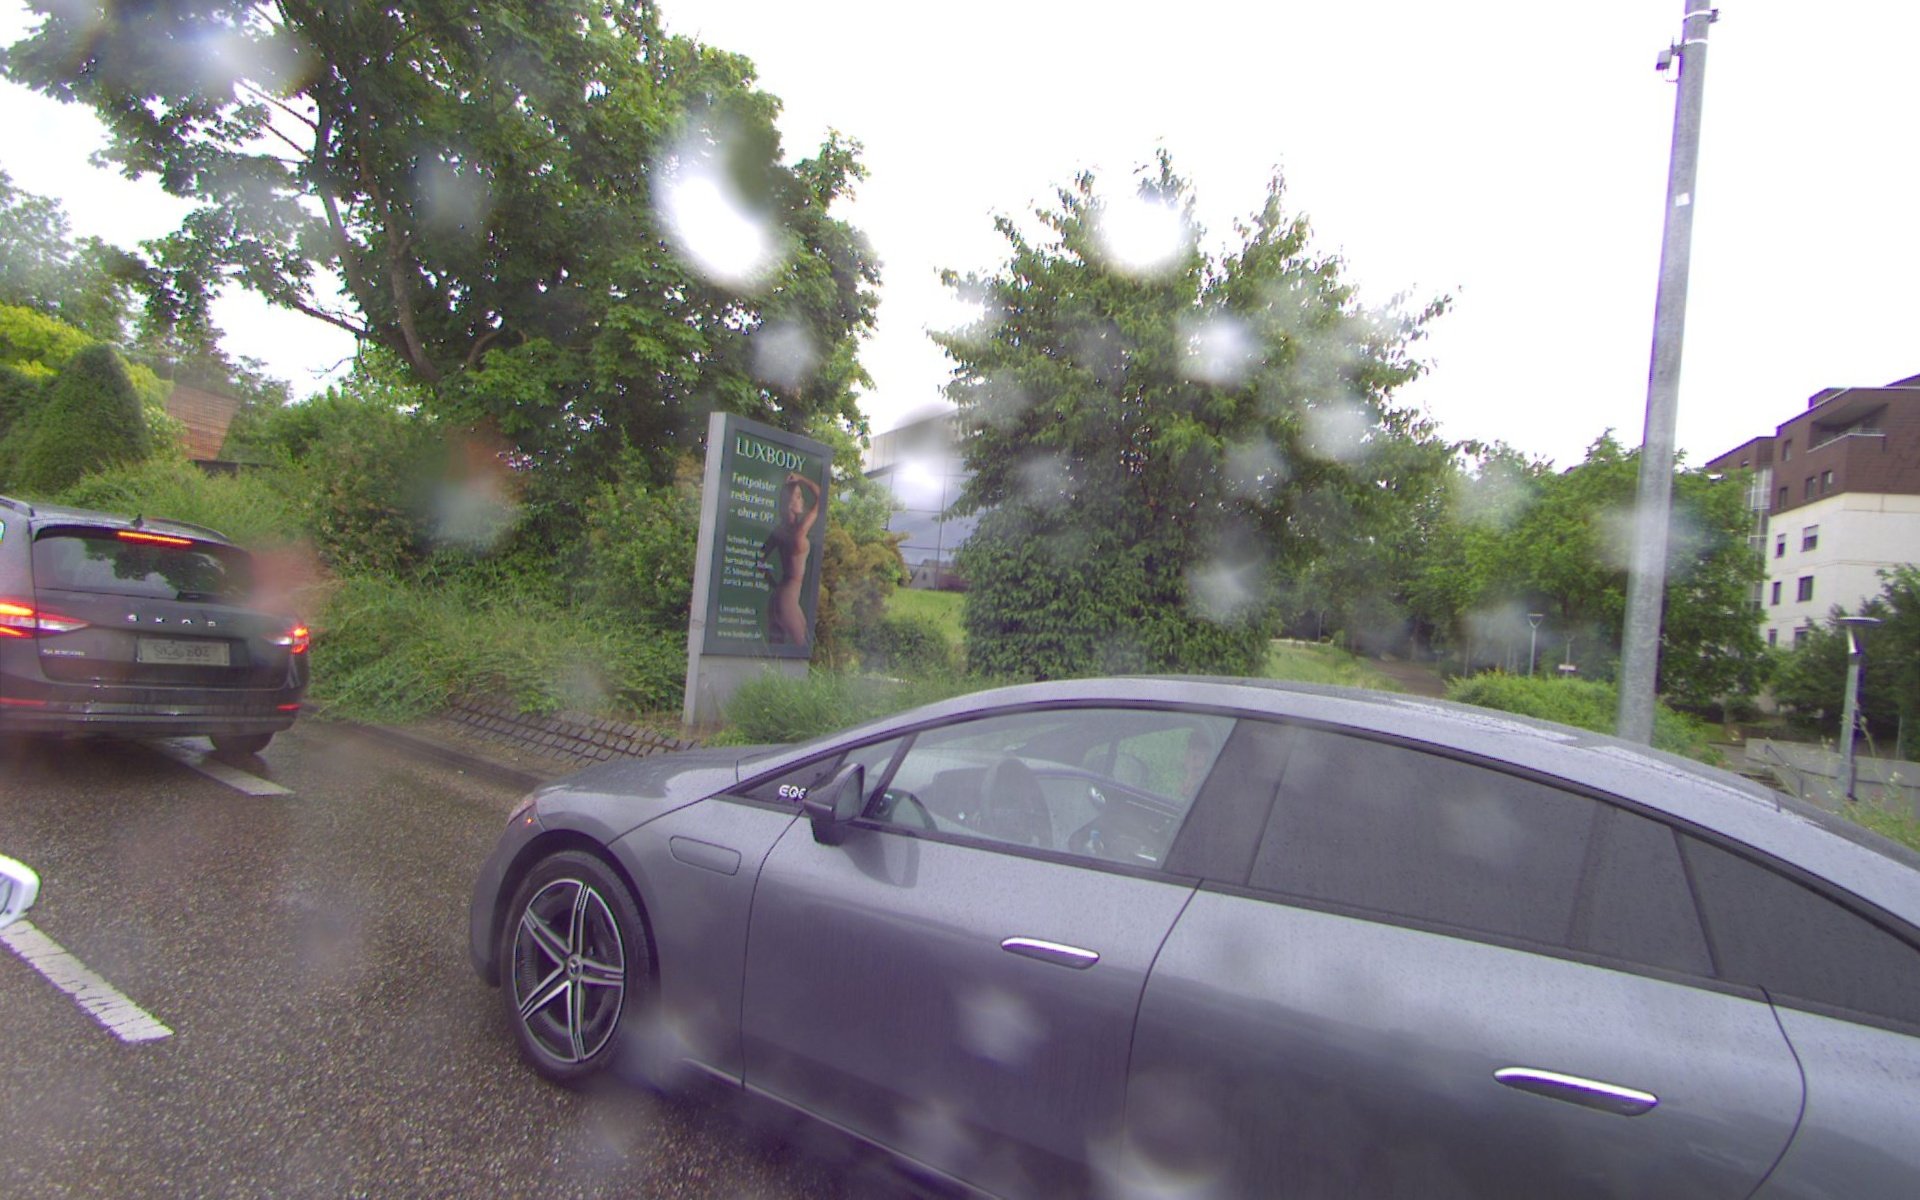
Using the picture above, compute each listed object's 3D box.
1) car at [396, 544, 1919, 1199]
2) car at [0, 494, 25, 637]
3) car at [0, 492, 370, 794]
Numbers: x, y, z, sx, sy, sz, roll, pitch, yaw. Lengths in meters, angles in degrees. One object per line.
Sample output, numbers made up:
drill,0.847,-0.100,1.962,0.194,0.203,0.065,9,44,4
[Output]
car,0.700,0.901,2.899,4.728,1.483,1.842,7,-2,31
car,-12.190,-0.661,10.913,4.048,1.483,1.842,7,-2,31
car,-6.092,0.085,6.756,4.279,1.483,1.841,7,-2,33
